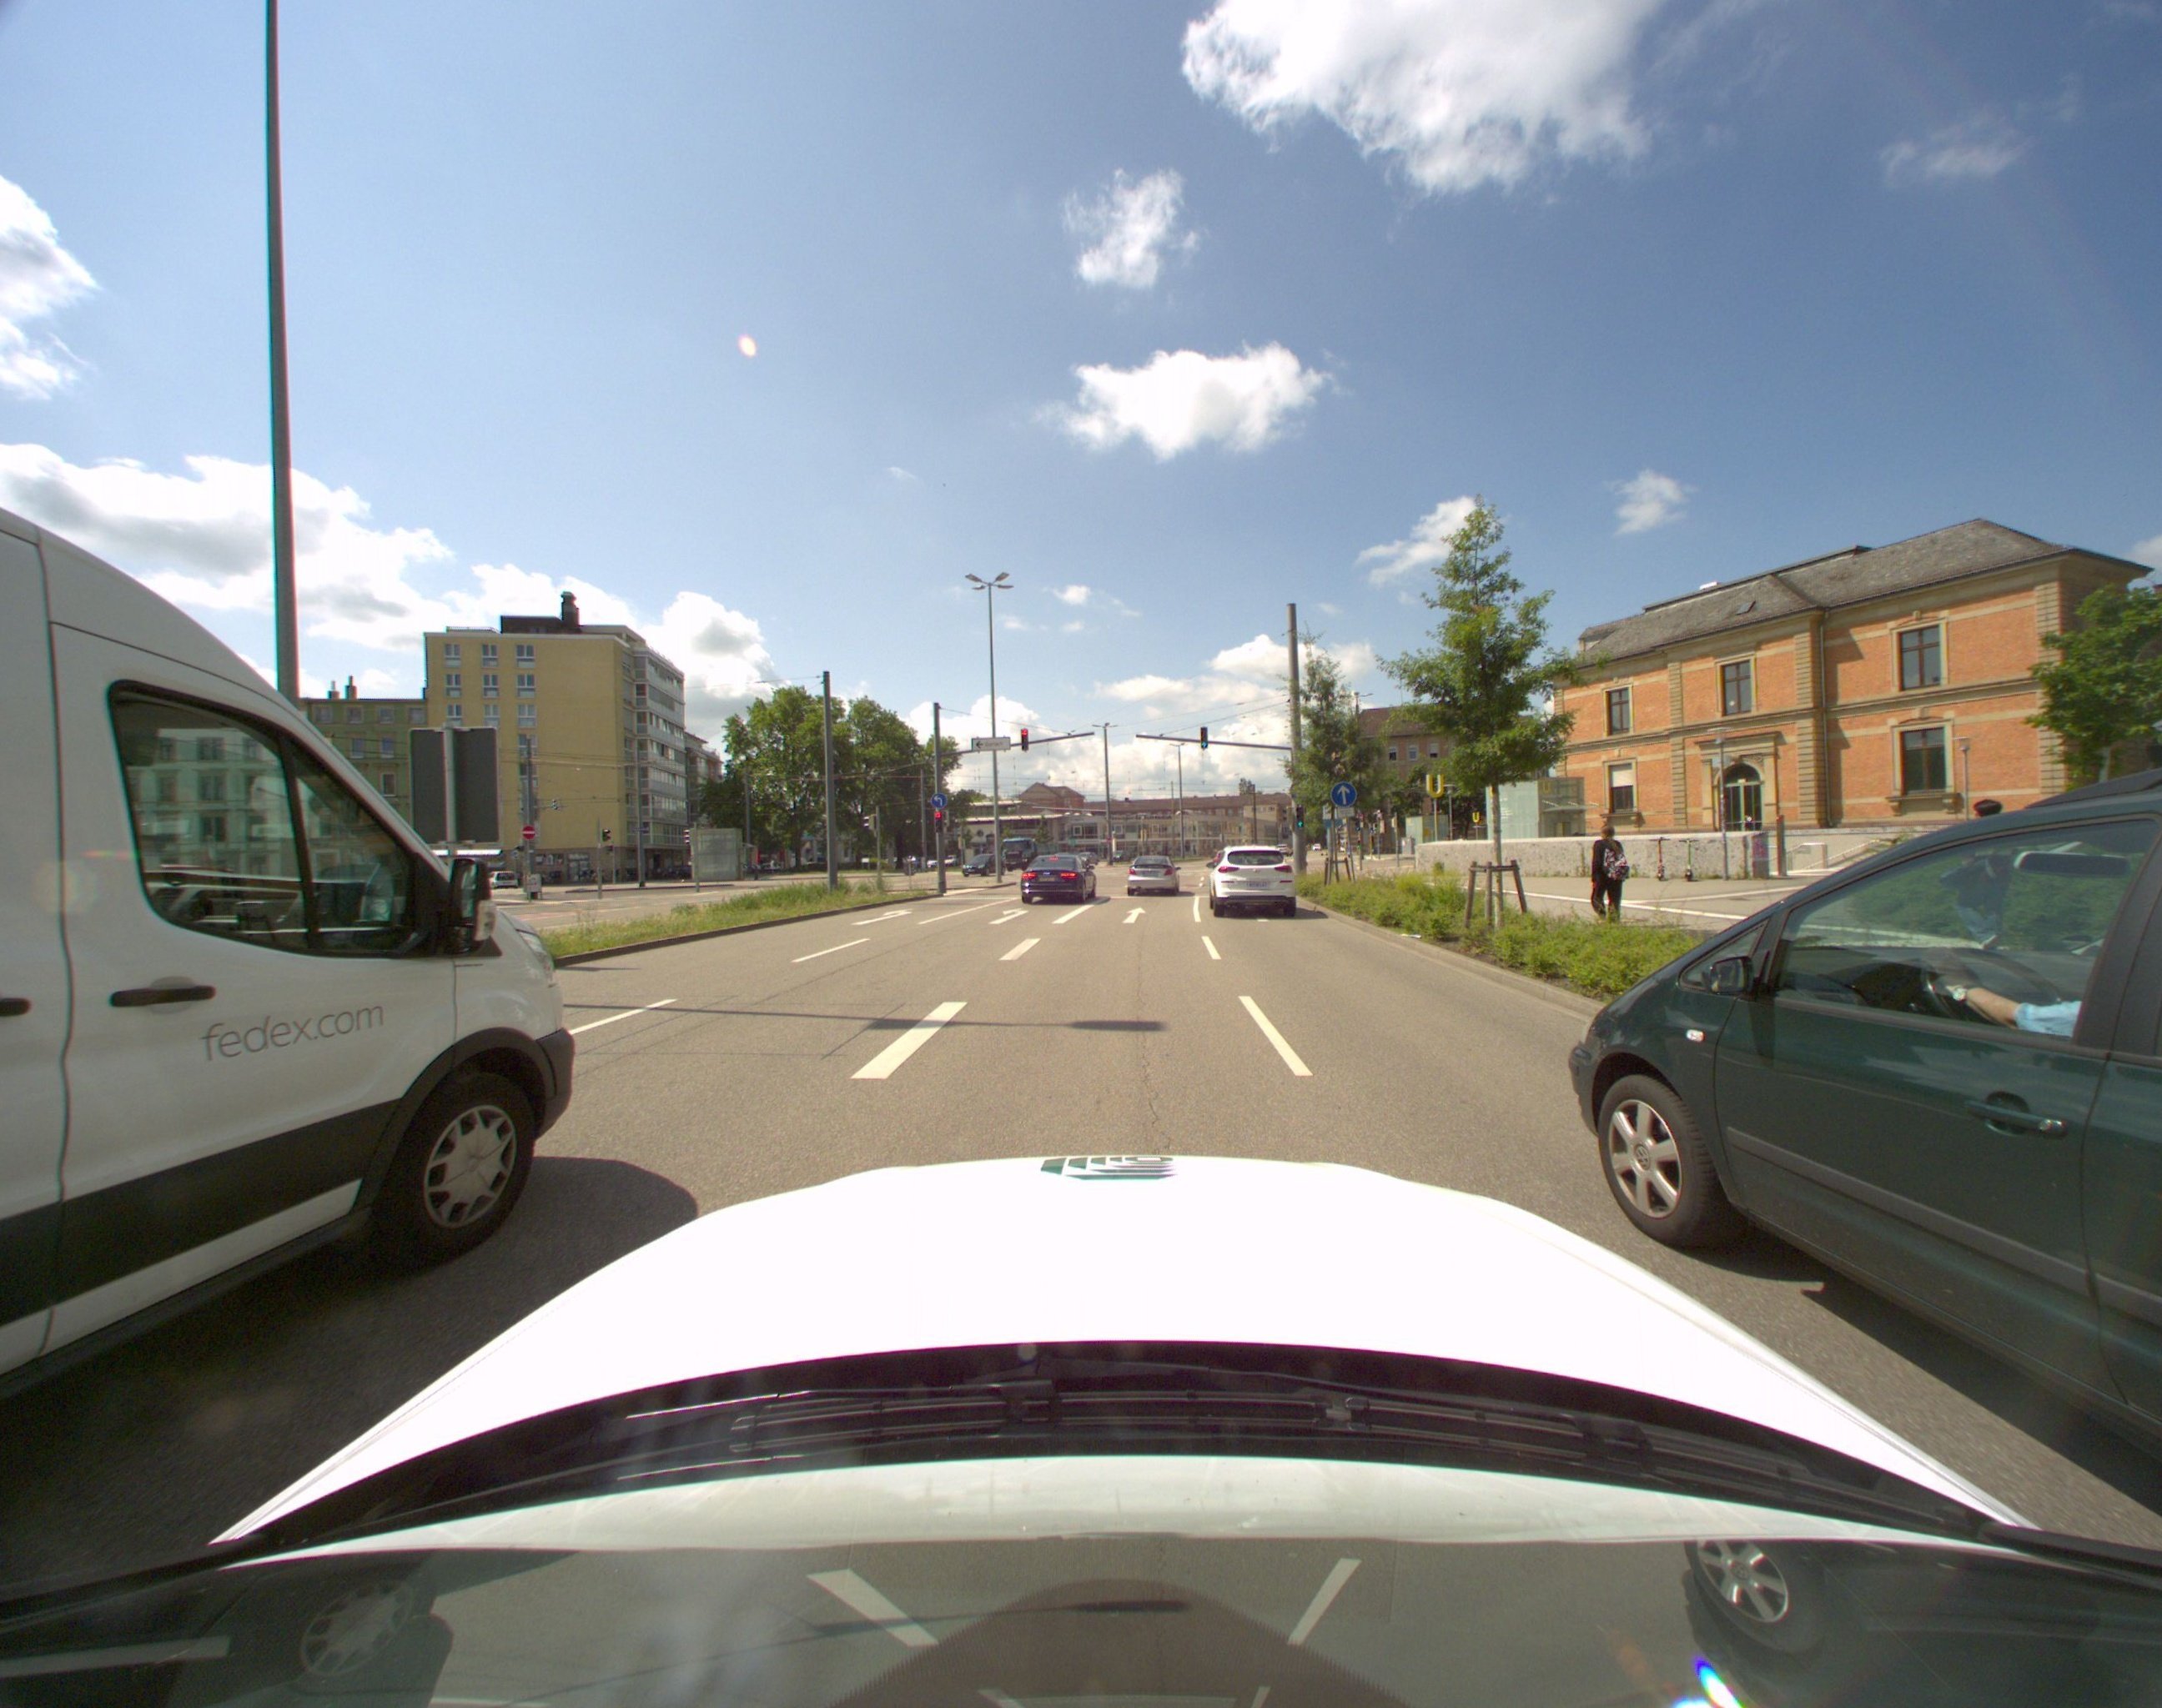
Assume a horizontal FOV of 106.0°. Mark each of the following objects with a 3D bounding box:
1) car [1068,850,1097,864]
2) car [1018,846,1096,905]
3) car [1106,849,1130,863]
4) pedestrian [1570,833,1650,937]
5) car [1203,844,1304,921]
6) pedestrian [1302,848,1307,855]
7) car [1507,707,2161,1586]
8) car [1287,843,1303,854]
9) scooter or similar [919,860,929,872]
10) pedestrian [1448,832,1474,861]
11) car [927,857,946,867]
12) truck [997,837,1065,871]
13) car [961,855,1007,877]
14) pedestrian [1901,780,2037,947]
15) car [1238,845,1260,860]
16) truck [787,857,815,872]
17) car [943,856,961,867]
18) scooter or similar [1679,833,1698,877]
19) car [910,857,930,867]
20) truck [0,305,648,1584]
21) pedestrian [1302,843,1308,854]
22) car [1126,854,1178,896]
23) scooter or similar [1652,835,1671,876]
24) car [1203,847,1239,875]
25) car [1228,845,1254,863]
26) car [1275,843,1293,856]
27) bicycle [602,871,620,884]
[{"bbox_3d":[0.194,0.296,87.832,1.639,1.433,4.293,-2,0,20],"label":"car"},{"bbox_3d":[-0.648,0.601,25.835,1.919,1.641,4.798,-2,0,5],"label":"car"},{"bbox_3d":[4.400,0.198,96.781,1.704,1.531,4.142,-2,0,19],"label":"car"},{"bbox_3d":[8.349,0.485,12.881,0.752,1.590,0.762,-1,-1,5],"label":"pedestrian"},{"bbox_3d":[4.108,0.622,20.060,1.872,1.641,4.238,-2,0,5],"label":"car"},{"bbox_3d":[30.685,-0.377,111.700,0.520,0.906,1.569,-1,-1,21],"label":"pedestrian"},{"bbox_3d":[3.025,0.575,1.956,1.787,1.723,4.449,0,0,2],"label":"car"},{"bbox_3d":[32.772,-0.833,124.514,1.865,1.641,3.978,-2,0,22],"label":"car"},{"bbox_3d":[-15.083,1.186,78.435,0.374,1.115,1.101,-2,-1,25],"label":"scooter or similar"},{"bbox_3d":[22.952,-0.448,49.179,0.969,1.657,0.856,-3,-2,-27],"label":"pedestrian"},{"bbox_3d":[-22.743,1.248,128.388,1.985,1.574,4.182,-1,-1,3],"label":"car"},{"bbox_3d":[-4.412,-0.094,74.693,2.861,2.852,8.837,-2,0,20],"label":"truck"},{"bbox_3d":[-6.877,0.831,58.054,1.640,1.469,4.172,-2,0,16],"label":"car"},{"bbox_3d":[10.110,0.110,9.302,0.753,1.821,0.674,-1,-1,3],"label":"pedestrian"},{"bbox_3d":[19.117,-0.188,92.603,1.865,1.641,3.977,-2,0,21],"label":"car"},{"bbox_3d":[-42.226,1.588,122.780,1.792,2.120,4.793,-2,0,11],"label":"truck"},{"bbox_3d":[-20.214,1.198,127.951,1.985,1.574,4.182,-1,-1,3],"label":"car"},{"bbox_3d":[16.802,0.021,22.502,0.228,1.123,1.461,-2,1,43],"label":"scooter or similar"},{"bbox_3d":[-25.393,1.295,128.546,1.985,1.574,4.182,-1,-1,3],"label":"car"},{"bbox_3d":[-3.295,0.189,1.228,2.130,2.640,5.915,-1,-1,-1],"label":"truck"},{"bbox_3d":[30.718,-0.767,111.790,0.686,1.457,0.683,-1,-1,21],"label":"pedestrian"},{"bbox_3d":[2.642,0.713,29.545,1.732,1.391,4.188,0,0,7],"label":"car"},{"bbox_3d":[16.695,0.034,23.419,0.228,1.123,1.291,-2,1,43],"label":"scooter or similar"},{"bbox_3d":[7.909,0.365,45.899,1.869,1.419,3.969,-2,0,11],"label":"car"},{"bbox_3d":[15.059,-0.017,76.460,1.866,1.641,3.975,-2,0,17],"label":"car"},{"bbox_3d":[27.804,-0.617,111.417,1.865,1.641,3.978,-2,0,21],"label":"car"},{"bbox_3d":[-43.165,2.133,74.737,2.107,1.147,0.515,-2,-1,33],"label":"bicycle"}]
